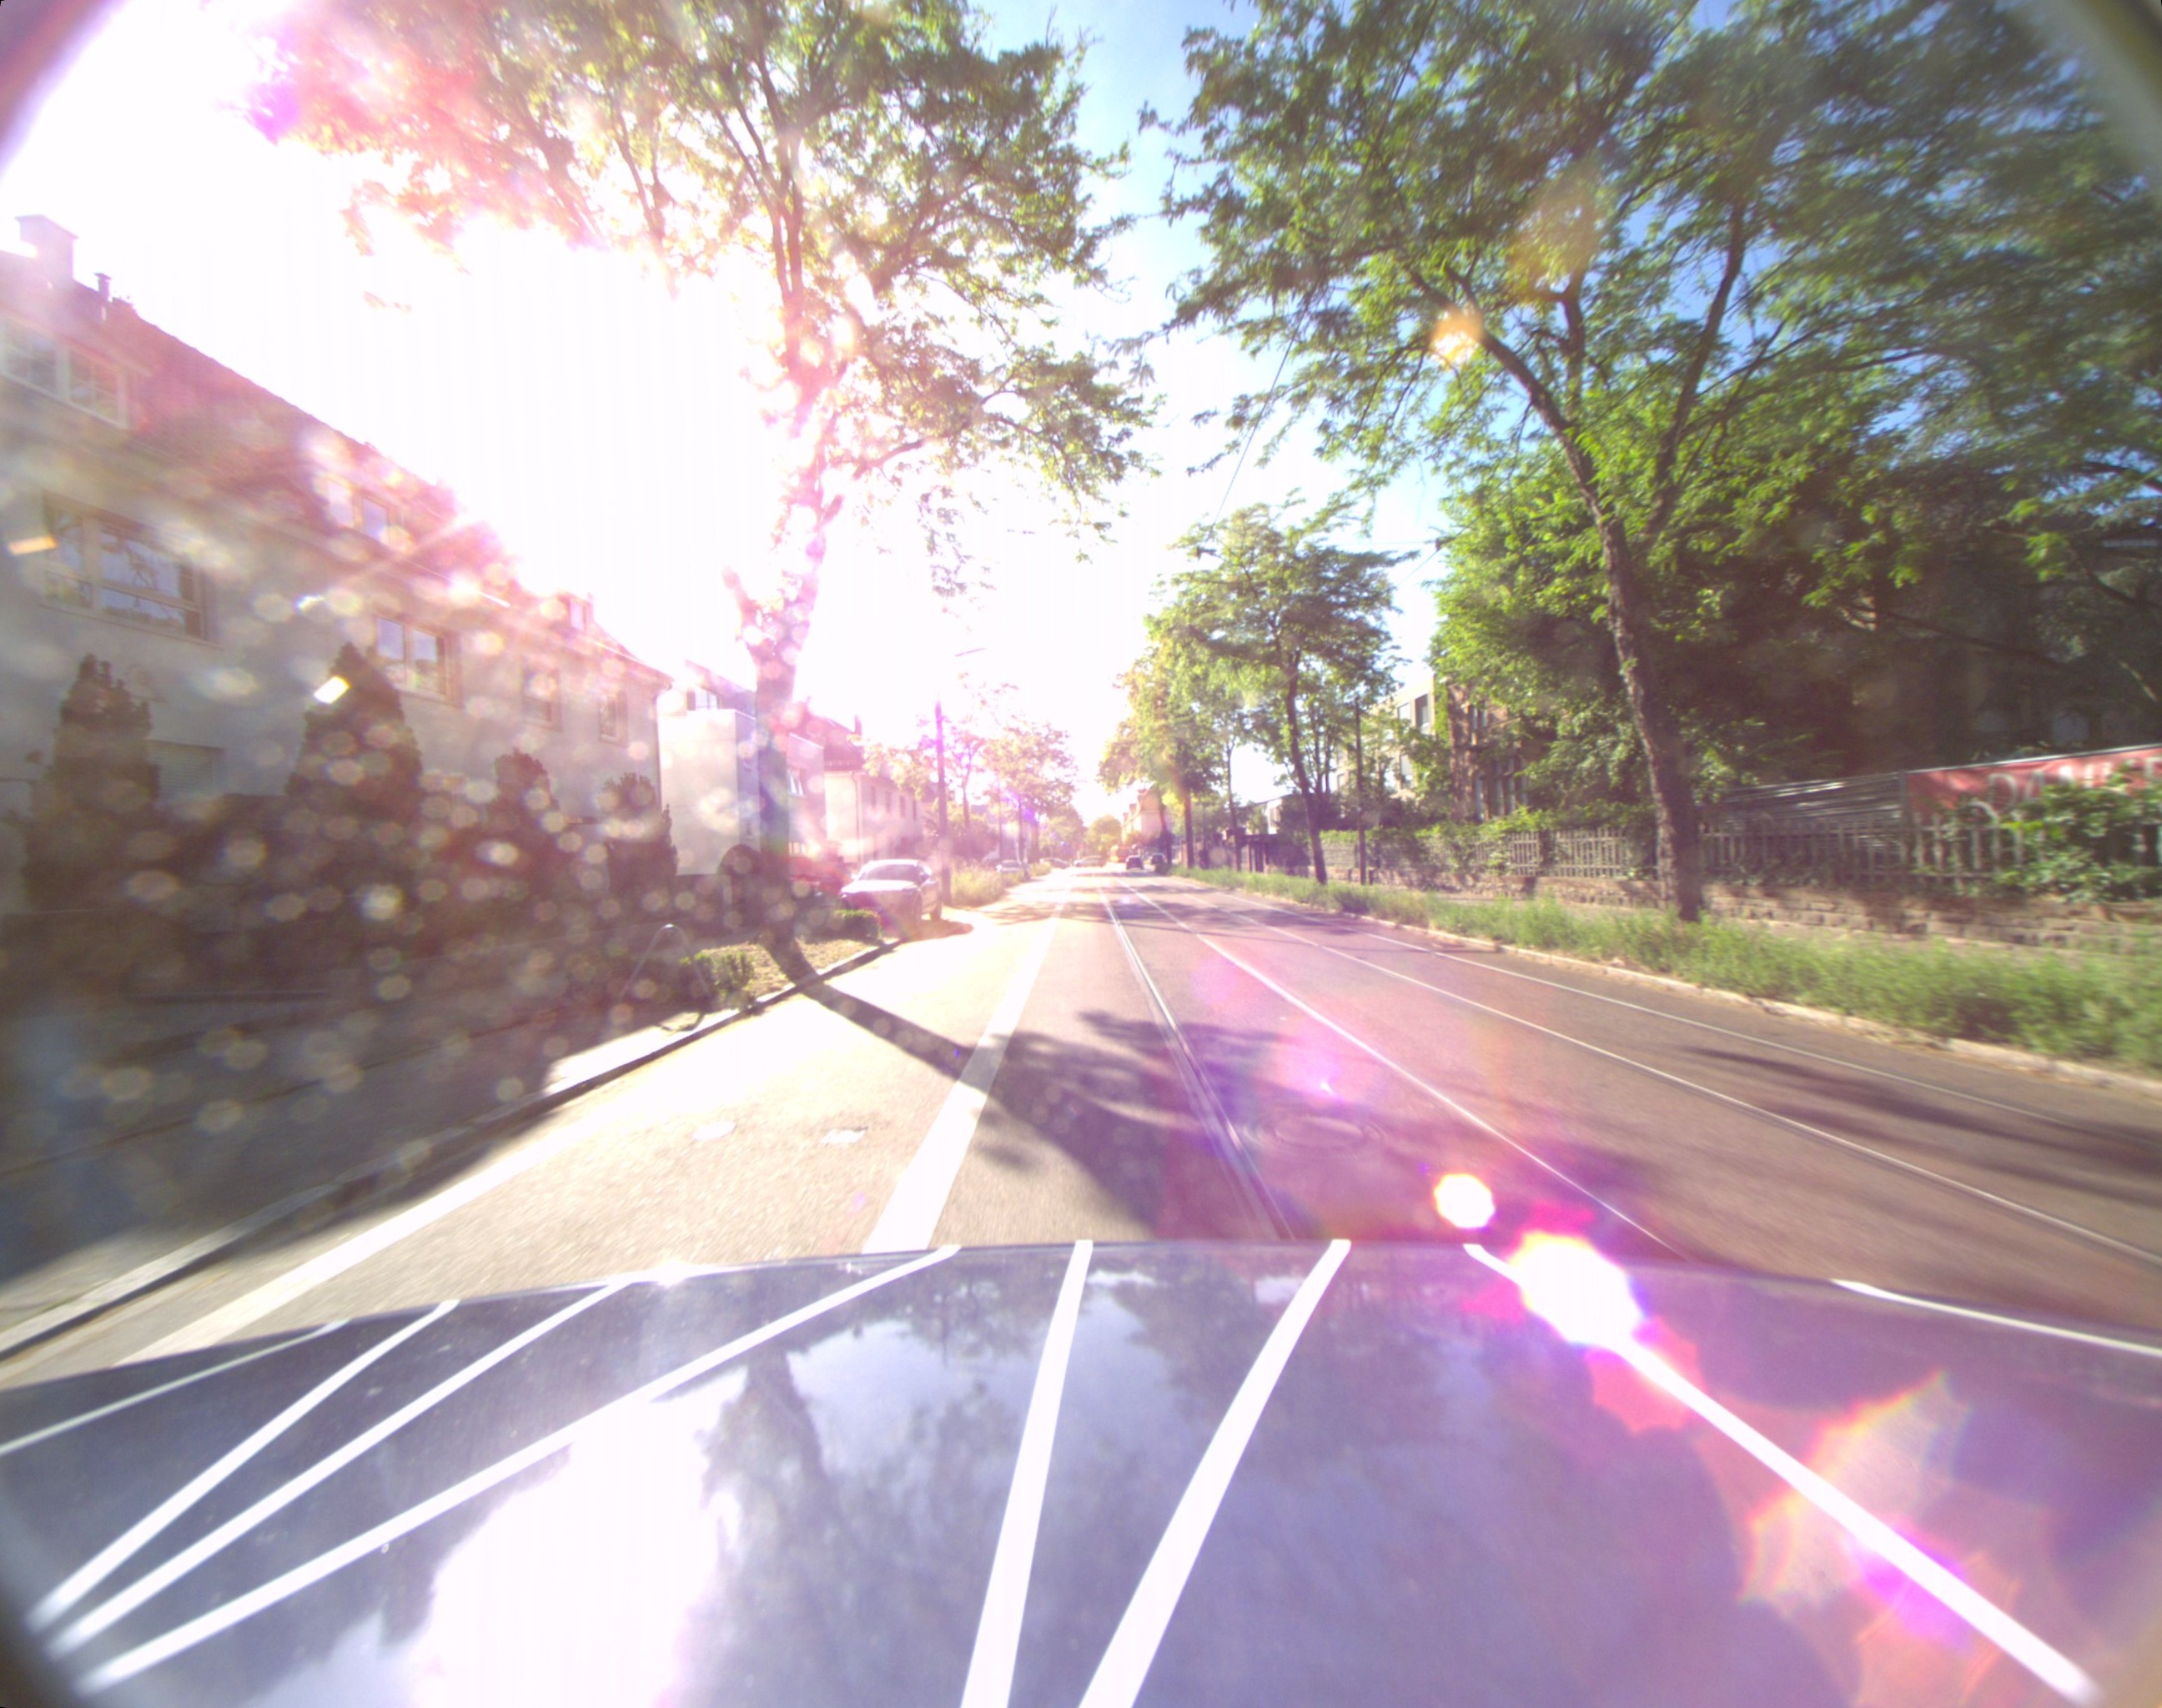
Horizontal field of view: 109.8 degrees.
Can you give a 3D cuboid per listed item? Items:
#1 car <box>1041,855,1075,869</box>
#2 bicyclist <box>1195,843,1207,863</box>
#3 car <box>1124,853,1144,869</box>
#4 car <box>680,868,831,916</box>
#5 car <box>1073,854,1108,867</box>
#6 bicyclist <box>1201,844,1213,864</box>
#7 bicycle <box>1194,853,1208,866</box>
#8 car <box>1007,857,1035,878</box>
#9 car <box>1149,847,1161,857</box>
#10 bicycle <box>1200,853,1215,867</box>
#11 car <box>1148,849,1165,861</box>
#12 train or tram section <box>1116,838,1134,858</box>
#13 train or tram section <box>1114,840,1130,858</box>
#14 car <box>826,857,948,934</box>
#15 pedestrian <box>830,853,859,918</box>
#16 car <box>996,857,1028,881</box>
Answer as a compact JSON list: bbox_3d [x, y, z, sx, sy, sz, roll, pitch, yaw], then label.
[{"bbox_3d":[-2.903,1.003,97.484,3.994,1.499,1.983,-3,0,10],"label":"car"},{"bbox_3d":[9.186,-0.077,58.291,0.711,1.490,0.956,-4,1,1],"label":"bicyclist"},{"bbox_3d":[5.554,0.724,80.022,1.753,1.515,4.069,-3,0,0],"label":"car"},{"bbox_3d":[-10.515,1.225,24.789,4.061,1.335,1.877,-2,0,0],"label":"car"},{"bbox_3d":[1.258,0.902,100.608,4.576,1.515,2.000,-3,0,0],"label":"car"},{"bbox_3d":[9.103,0.000,54.845,0.710,1.462,1.041,-2,1,1],"label":"bicyclist"},{"bbox_3d":[9.214,0.409,58.253,0.720,0.968,1.888,-4,1,1],"label":"bicycle"},{"bbox_3d":[-4.539,1.026,58.180,1.753,1.486,4.443,-1,0,0],"label":"car"},{"bbox_3d":[15.858,-0.481,162.807,1.998,1.954,4.934,-2,0,1],"label":"car"},{"bbox_3d":[9.118,0.411,54.862,0.713,0.955,2.094,-2,0,1],"label":"bicycle"},{"bbox_3d":[9.829,0.120,99.391,1.753,1.515,4.035,-3,0,0],"label":"car"},{"bbox_3d":[8.089,-1.019,139.253,2.811,3.439,6.668,-3,0,1],"label":"train or tram section"},{"bbox_3d":[8.250,-1.019,152.573,2.811,3.439,6.668,-3,0,1],"label":"train or tram section"},{"bbox_3d":[-4.798,0.956,19.472,1.999,1.694,4.477,1,0,0],"label":"car"},{"bbox_3d":[-6.880,0.913,22.126,0.627,1.859,0.732,1,1,-1],"label":"pedestrian"},{"bbox_3d":[-4.694,0.978,52.070,1.753,1.486,3.996,-1,0,0],"label":"car"}]
